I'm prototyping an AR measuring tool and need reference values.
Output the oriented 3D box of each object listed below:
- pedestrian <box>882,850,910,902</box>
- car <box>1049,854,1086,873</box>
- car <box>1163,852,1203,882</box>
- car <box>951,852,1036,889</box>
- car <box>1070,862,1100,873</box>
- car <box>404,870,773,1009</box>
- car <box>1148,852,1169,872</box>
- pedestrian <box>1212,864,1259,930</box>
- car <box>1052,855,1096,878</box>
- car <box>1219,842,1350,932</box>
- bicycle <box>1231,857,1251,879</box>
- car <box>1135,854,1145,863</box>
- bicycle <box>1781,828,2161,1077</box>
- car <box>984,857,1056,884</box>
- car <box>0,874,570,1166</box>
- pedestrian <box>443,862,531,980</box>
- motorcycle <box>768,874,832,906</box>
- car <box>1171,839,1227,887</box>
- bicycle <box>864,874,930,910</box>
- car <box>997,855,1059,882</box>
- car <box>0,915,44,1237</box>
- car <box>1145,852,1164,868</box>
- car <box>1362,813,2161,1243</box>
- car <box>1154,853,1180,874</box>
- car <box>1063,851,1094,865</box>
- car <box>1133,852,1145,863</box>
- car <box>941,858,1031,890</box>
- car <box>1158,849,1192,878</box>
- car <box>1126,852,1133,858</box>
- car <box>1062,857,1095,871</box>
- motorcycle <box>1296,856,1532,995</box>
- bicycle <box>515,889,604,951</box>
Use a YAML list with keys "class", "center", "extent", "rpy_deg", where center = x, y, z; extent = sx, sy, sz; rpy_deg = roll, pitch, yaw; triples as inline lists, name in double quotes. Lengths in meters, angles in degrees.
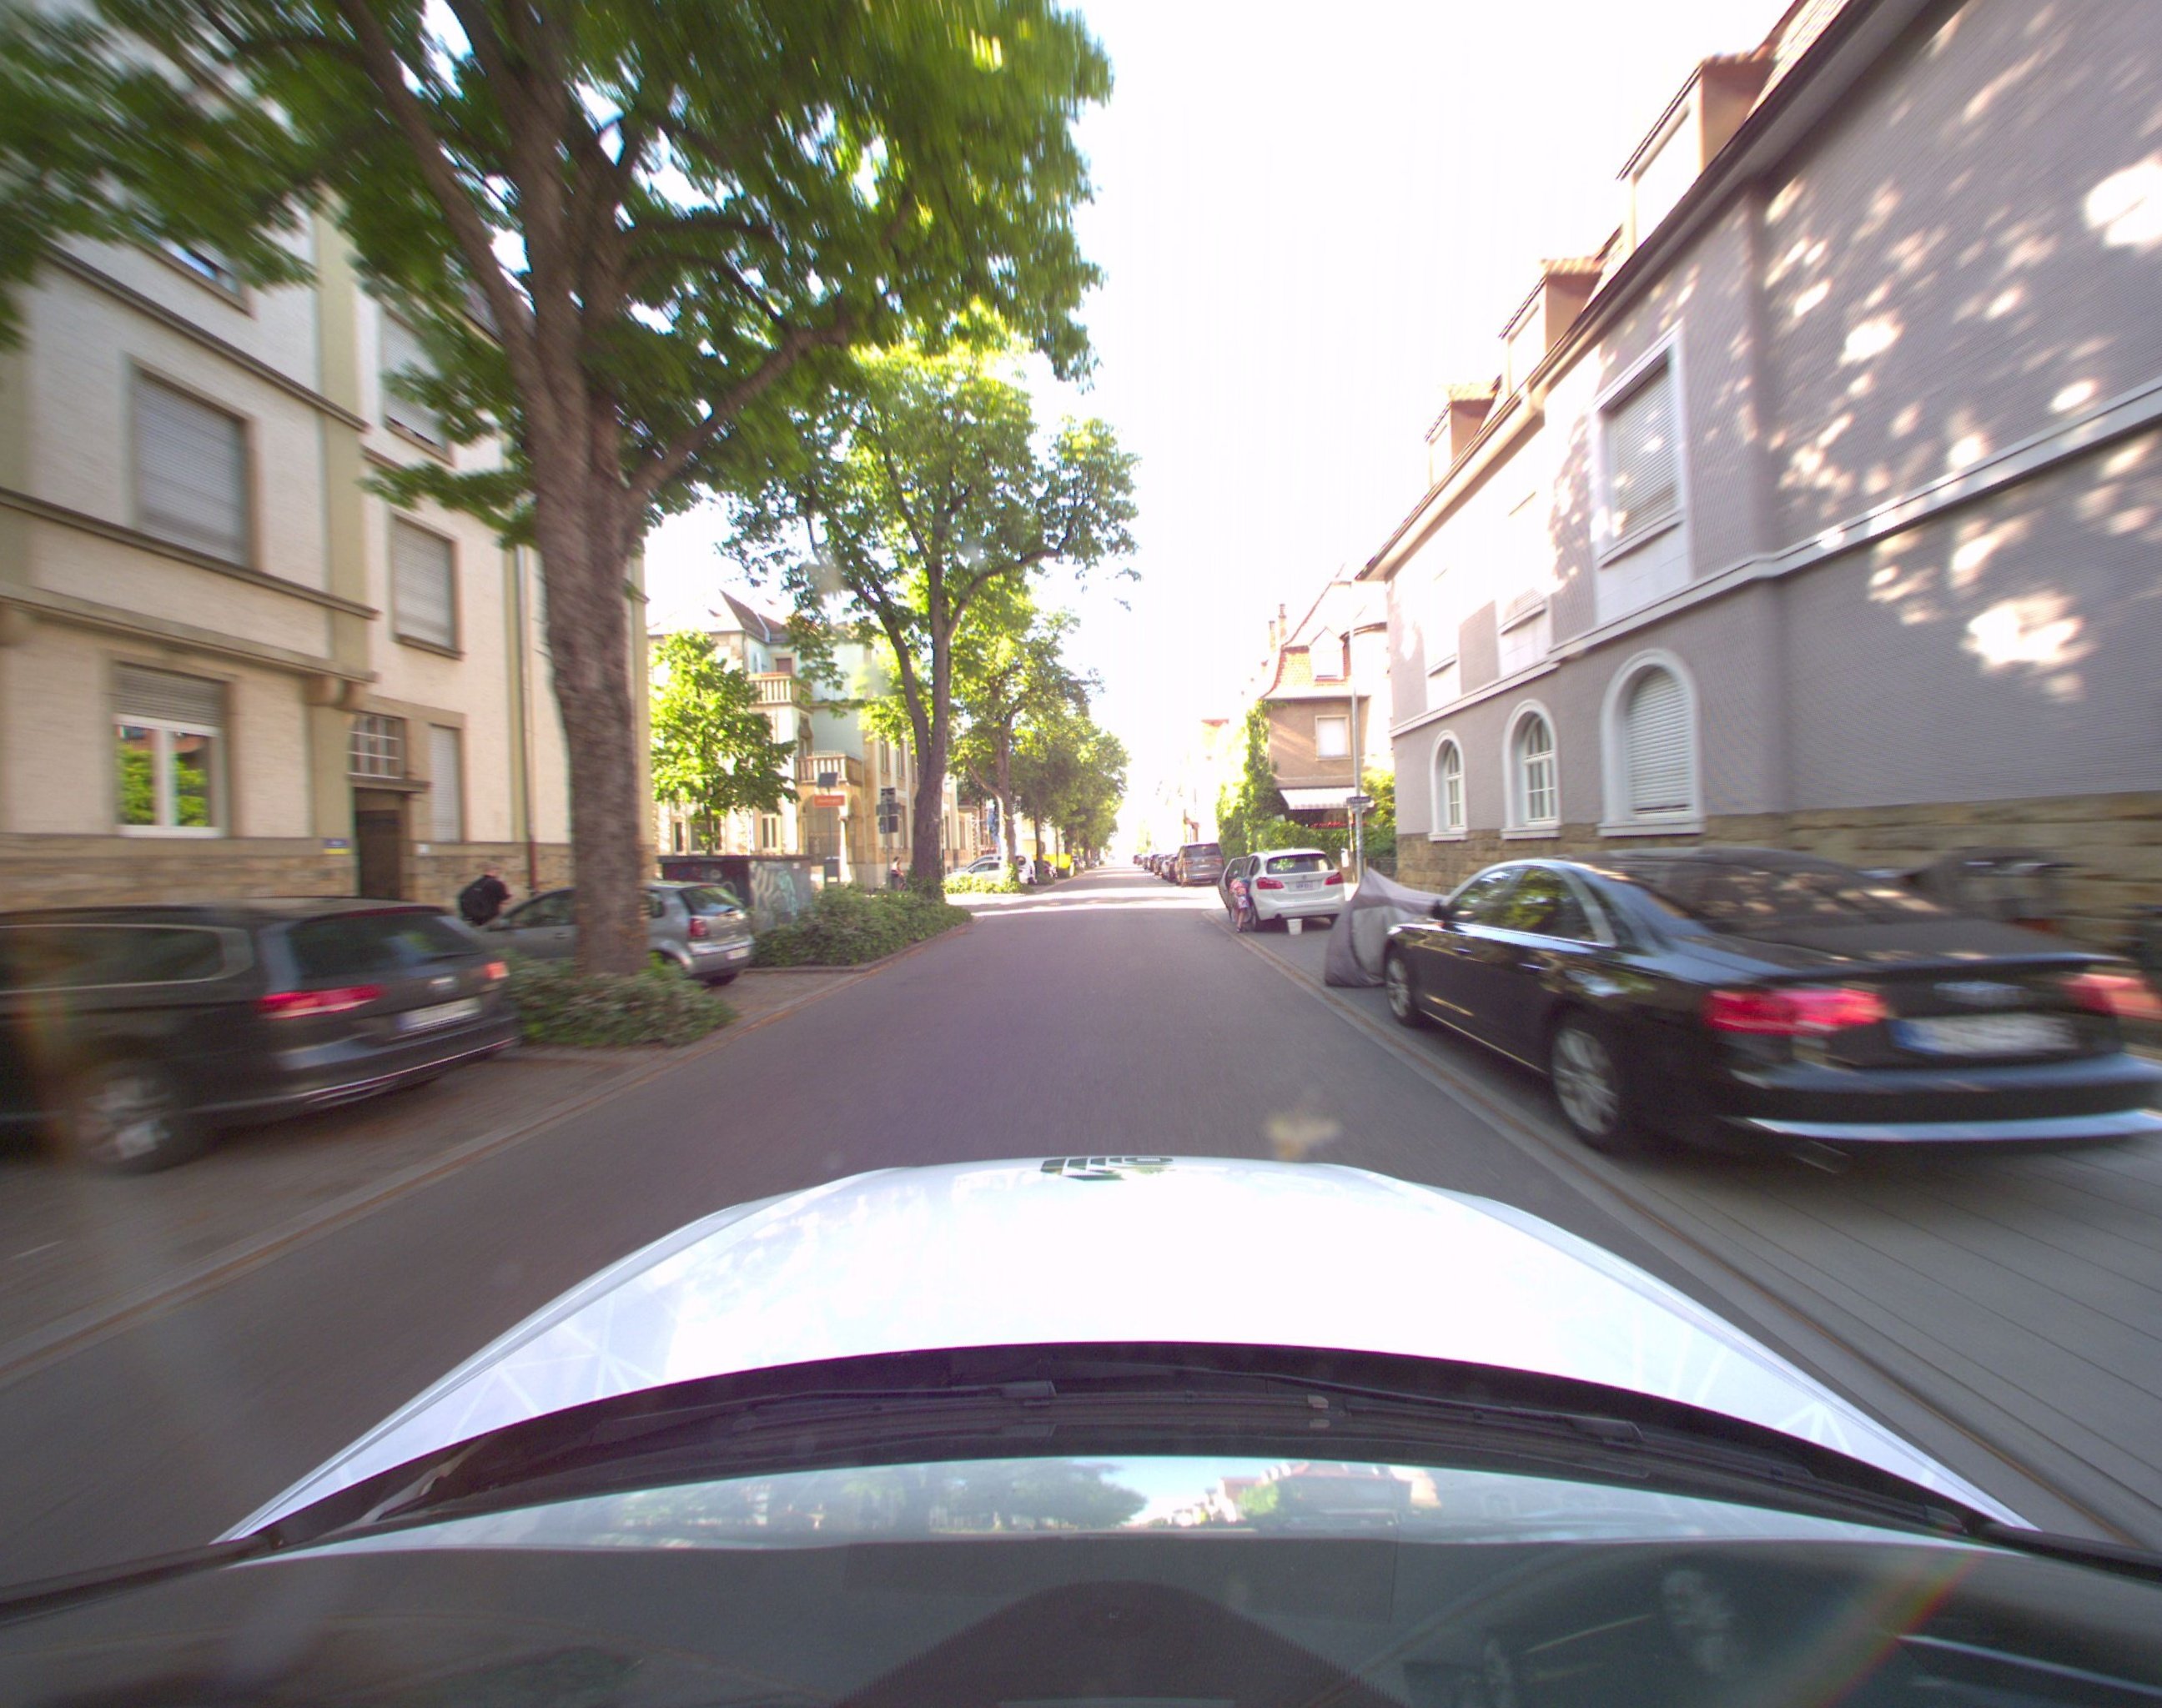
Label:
- class: "pedestrian"
  center: [-6.263, 0.733, 27.611]
  extent: [0.627, 1.694, 0.653]
  rpy_deg: [-4, 0, 6]
- class: "car"
  center: [-1.521, 1.058, 90.777]
  extent: [3.981, 2.014, 1.996]
  rpy_deg: [-2, -1, -6]
- class: "car"
  center: [5.357, 0.644, 43.031]
  extent: [1.684, 1.398, 3.808]
  rpy_deg: [-5, 0, 3]
- class: "car"
  center: [-4.263, 0.799, 40.199]
  extent: [3.975, 1.761, 1.797]
  rpy_deg: [0, -1, -2]
- class: "car"
  center: [0.614, 1.903, 117.141]
  extent: [3.955, 1.409, 1.709]
  rpy_deg: [-2, 0, 17]
- class: "car"
  center: [-6.085, 1.020, 10.351]
  extent: [3.660, 1.487, 1.642]
  rpy_deg: [-2, -1, 2]
- class: "car"
  center: [6.771, 0.671, 71.426]
  extent: [1.763, 1.631, 3.870]
  rpy_deg: [-2, 0, 4]
- class: "pedestrian"
  center: [3.096, 0.842, 16.347]
  extent: [0.722, 1.257, 0.645]
  rpy_deg: [-3, 0, -5]
- class: "car"
  center: [-0.662, 1.248, 78.072]
  extent: [3.981, 2.014, 1.996]
  rpy_deg: [-2, -2, -6]
- class: "car"
  center: [4.142, 0.618, 17.249]
  extent: [1.693, 1.539, 4.156]
  rpy_deg: [-4, 0, 1]
- class: "bicycle"
  center: [7.616, 0.655, 38.907]
  extent: [0.585, 1.023, 2.372]
  rpy_deg: [-2, 0, 3]
- class: "car"
  center: [11.166, 0.856, 154.341]
  extent: [1.763, 1.631, 3.870]
  rpy_deg: [-2, 0, 4]
- class: "bicycle"
  center: [6.334, 0.533, 5.609]
  extent: [1.078, 1.337, 2.251]
  rpy_deg: [-3, 0, 2]
- class: "car"
  center: [-3.633, 0.981, 49.009]
  extent: [3.969, 1.469, 1.866]
  rpy_deg: [-2, 1, 4]
- class: "car"
  center: [-6.257, 0.967, 5.393]
  extent: [4.516, 1.503, 1.892]
  rpy_deg: [-2, -1, 1]
- class: "pedestrian"
  center: [-8.787, 0.964, 12.081]
  extent: [0.629, 1.659, 0.833]
  rpy_deg: [-2, 0, 3]
- class: "motorcycle"
  center: [-11.115, 1.417, 32.216]
  extent: [2.197, 1.176, 0.901]
  rpy_deg: [-2, -2, 11]
- class: "car"
  center: [5.187, 0.366, 36.462]
  extent: [1.897, 1.870, 4.676]
  rpy_deg: [-5, 0, 3]
- class: "bicycle"
  center: [-6.226, 1.283, 27.604]
  extent: [1.980, 1.066, 0.761]
  rpy_deg: [-4, 1, 6]
- class: "car"
  center: [-3.513, 0.927, 53.931]
  extent: [3.981, 1.552, 1.834]
  rpy_deg: [-2, 0, -6]
- class: "car"
  center: [-6.876, 1.061, 2.898]
  extent: [3.966, 1.437, 1.829]
  rpy_deg: [-2, -1, 0]
- class: "car"
  center: [7.571, 0.603, 83.808]
  extent: [1.763, 1.631, 3.870]
  rpy_deg: [-2, 0, 4]
- class: "car"
  center: [3.464, 0.645, 5.306]
  extent: [1.846, 1.493, 4.612]
  rpy_deg: [-4, 0, 4]
- class: "car"
  center: [6.287, 0.662, 59.915]
  extent: [1.763, 1.455, 3.870]
  rpy_deg: [-2, 0, 4]
- class: "car"
  center: [-0.319, 0.550, 111.420]
  extent: [3.987, 1.841, 2.003]
  rpy_deg: [0, 1, 4]
- class: "car"
  center: [8.895, 0.587, 125.512]
  extent: [1.763, 1.631, 3.870]
  rpy_deg: [-2, 0, 4]
- class: "car"
  center: [-4.348, 0.919, 37.895]
  extent: [3.975, 1.464, 1.797]
  rpy_deg: [0, -1, -2]
- class: "car"
  center: [5.619, 0.531, 48.976]
  extent: [1.781, 1.618, 3.870]
  rpy_deg: [-2, 0, 4]
- class: "car"
  center: [12.893, 0.312, 217.329]
  extent: [1.763, 1.631, 3.870]
  rpy_deg: [-2, 0, 4]
- class: "car"
  center: [-0.276, 1.281, 102.051]
  extent: [3.987, 1.735, 1.897]
  rpy_deg: [0, 1, 4]
- class: "motorcycle"
  center: [3.608, 0.742, 8.916]
  extent: [2.171, 1.339, 0.927]
  rpy_deg: [-3, -1, 35]
- class: "bicycle"
  center: [-10.436, 1.295, 16.372]
  extent: [0.625, 1.097, 1.699]
  rpy_deg: [-2, 0, 2]
